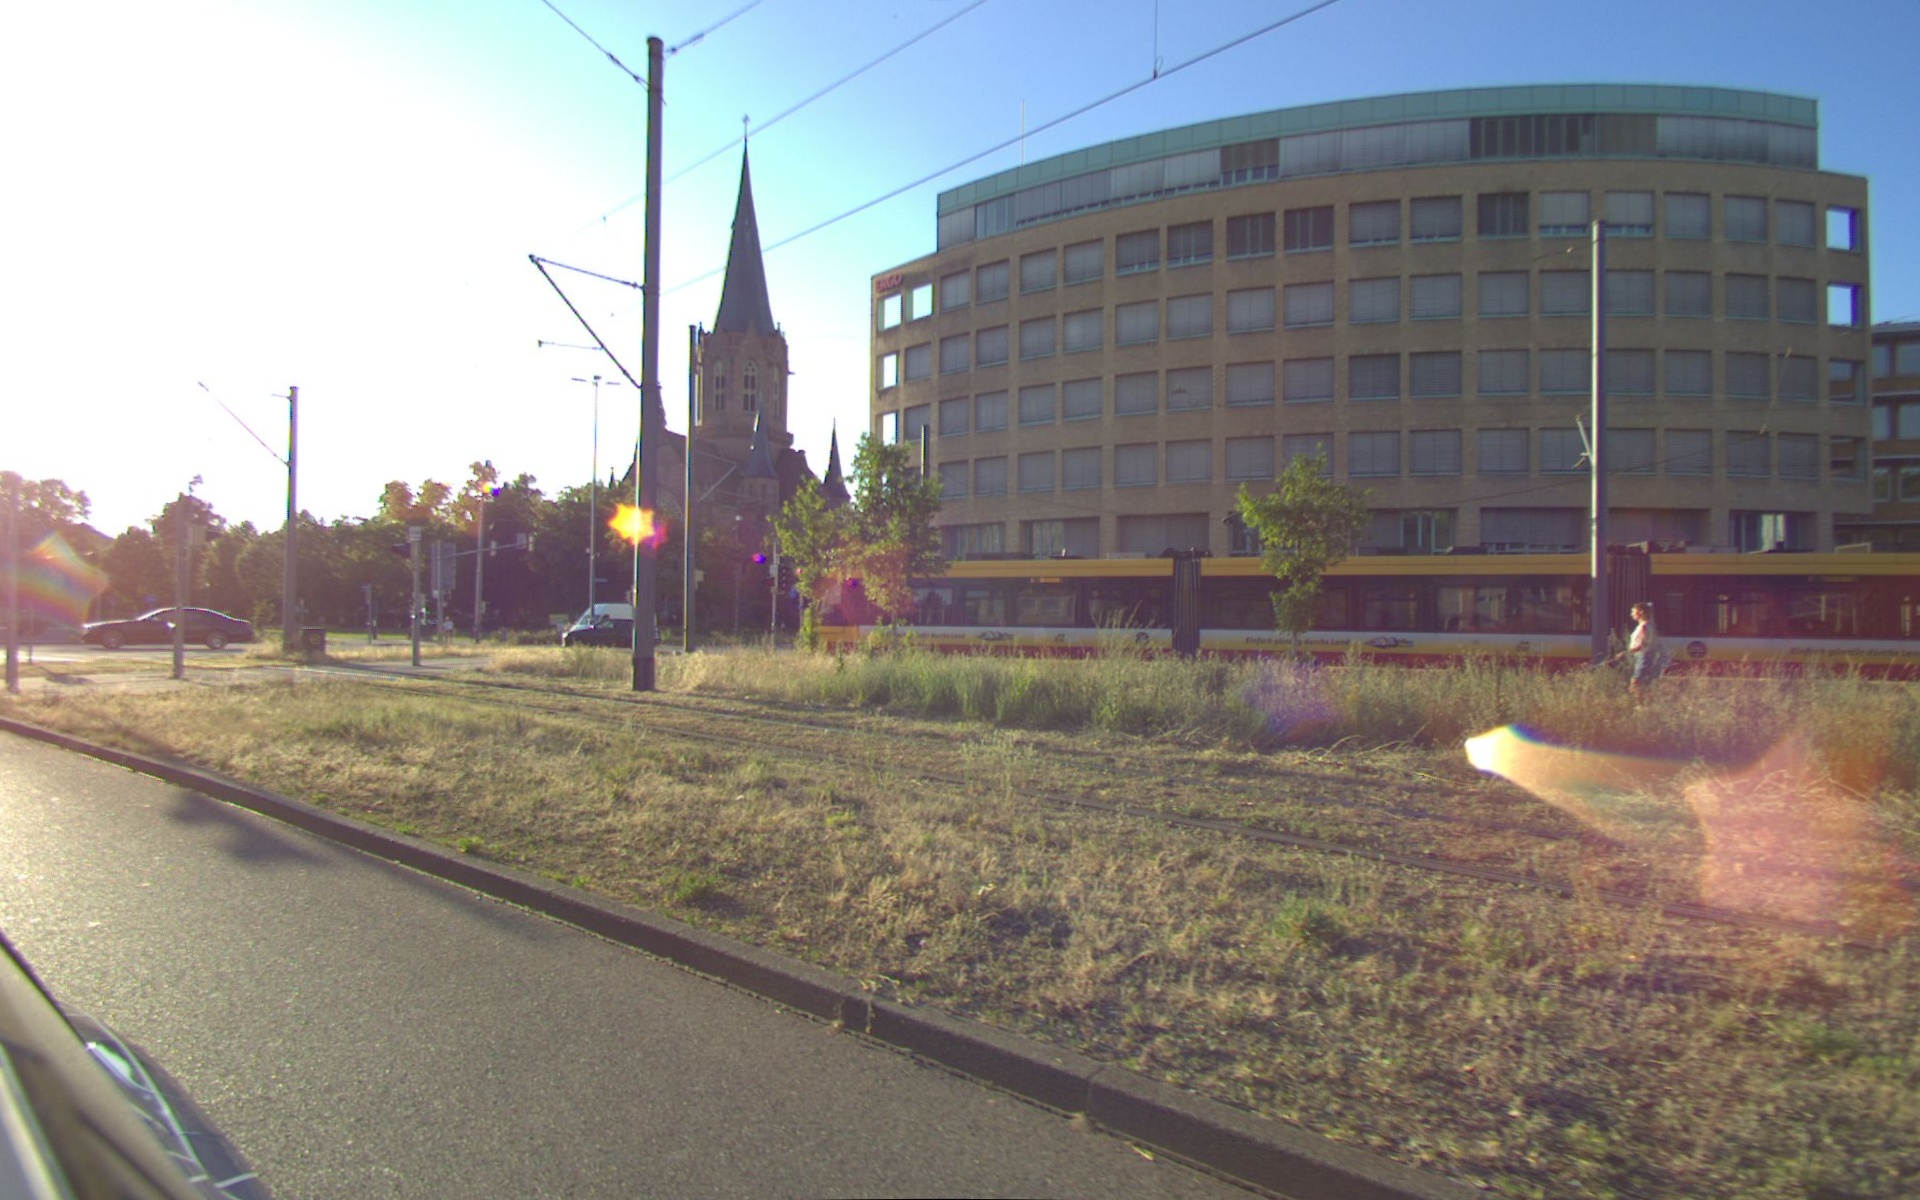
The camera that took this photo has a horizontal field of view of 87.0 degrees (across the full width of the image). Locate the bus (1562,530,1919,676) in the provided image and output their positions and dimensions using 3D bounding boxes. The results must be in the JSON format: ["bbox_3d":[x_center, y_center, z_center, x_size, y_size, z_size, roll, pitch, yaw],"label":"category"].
[{"bbox_3d":[23.268,0.080,25.221,13.601,3.388,3.738,-1,-1,18],"label":"bus"}]

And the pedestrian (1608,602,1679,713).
[{"bbox_3d":[9.333,0.765,13.816,0.699,1.470,0.663,-1,-1,42],"label":"pedestrian"}]

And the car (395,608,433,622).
[{"bbox_3d":[-73.078,2.060,135.483,4.069,1.836,2.002,0,-1,-5],"label":"car"}]

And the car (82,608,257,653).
[{"bbox_3d":[-29.066,1.165,37.385,4.946,1.519,1.728,3,-3,-39],"label":"car"}]

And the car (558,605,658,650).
[{"bbox_3d":[-23.883,1.872,69.066,2.294,2.900,7.146,-1,-2,23],"label":"car"}]

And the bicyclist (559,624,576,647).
[{"bbox_3d":[-26.584,2.401,68.593,0.819,1.580,0.727,-1,-1,27],"label":"bicyclist"}]

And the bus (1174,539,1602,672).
[{"bbox_3d":[11.836,0.216,29.234,10.657,3.356,3.735,-1,-1,20],"label":"bus"}]

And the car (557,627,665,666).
[{"bbox_3d":[-14.715,1.944,42.860,3.941,1.554,2.001,0,-1,-3],"label":"car"}]

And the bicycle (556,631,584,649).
[{"bbox_3d":[-26.499,2.689,68.786,0.488,1.191,1.954,-1,-1,26],"label":"bicycle"}]

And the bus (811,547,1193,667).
[{"bbox_3d":[1.287,0.291,33.295,12.046,3.482,3.734,-1,-1,21],"label":"bus"}]
